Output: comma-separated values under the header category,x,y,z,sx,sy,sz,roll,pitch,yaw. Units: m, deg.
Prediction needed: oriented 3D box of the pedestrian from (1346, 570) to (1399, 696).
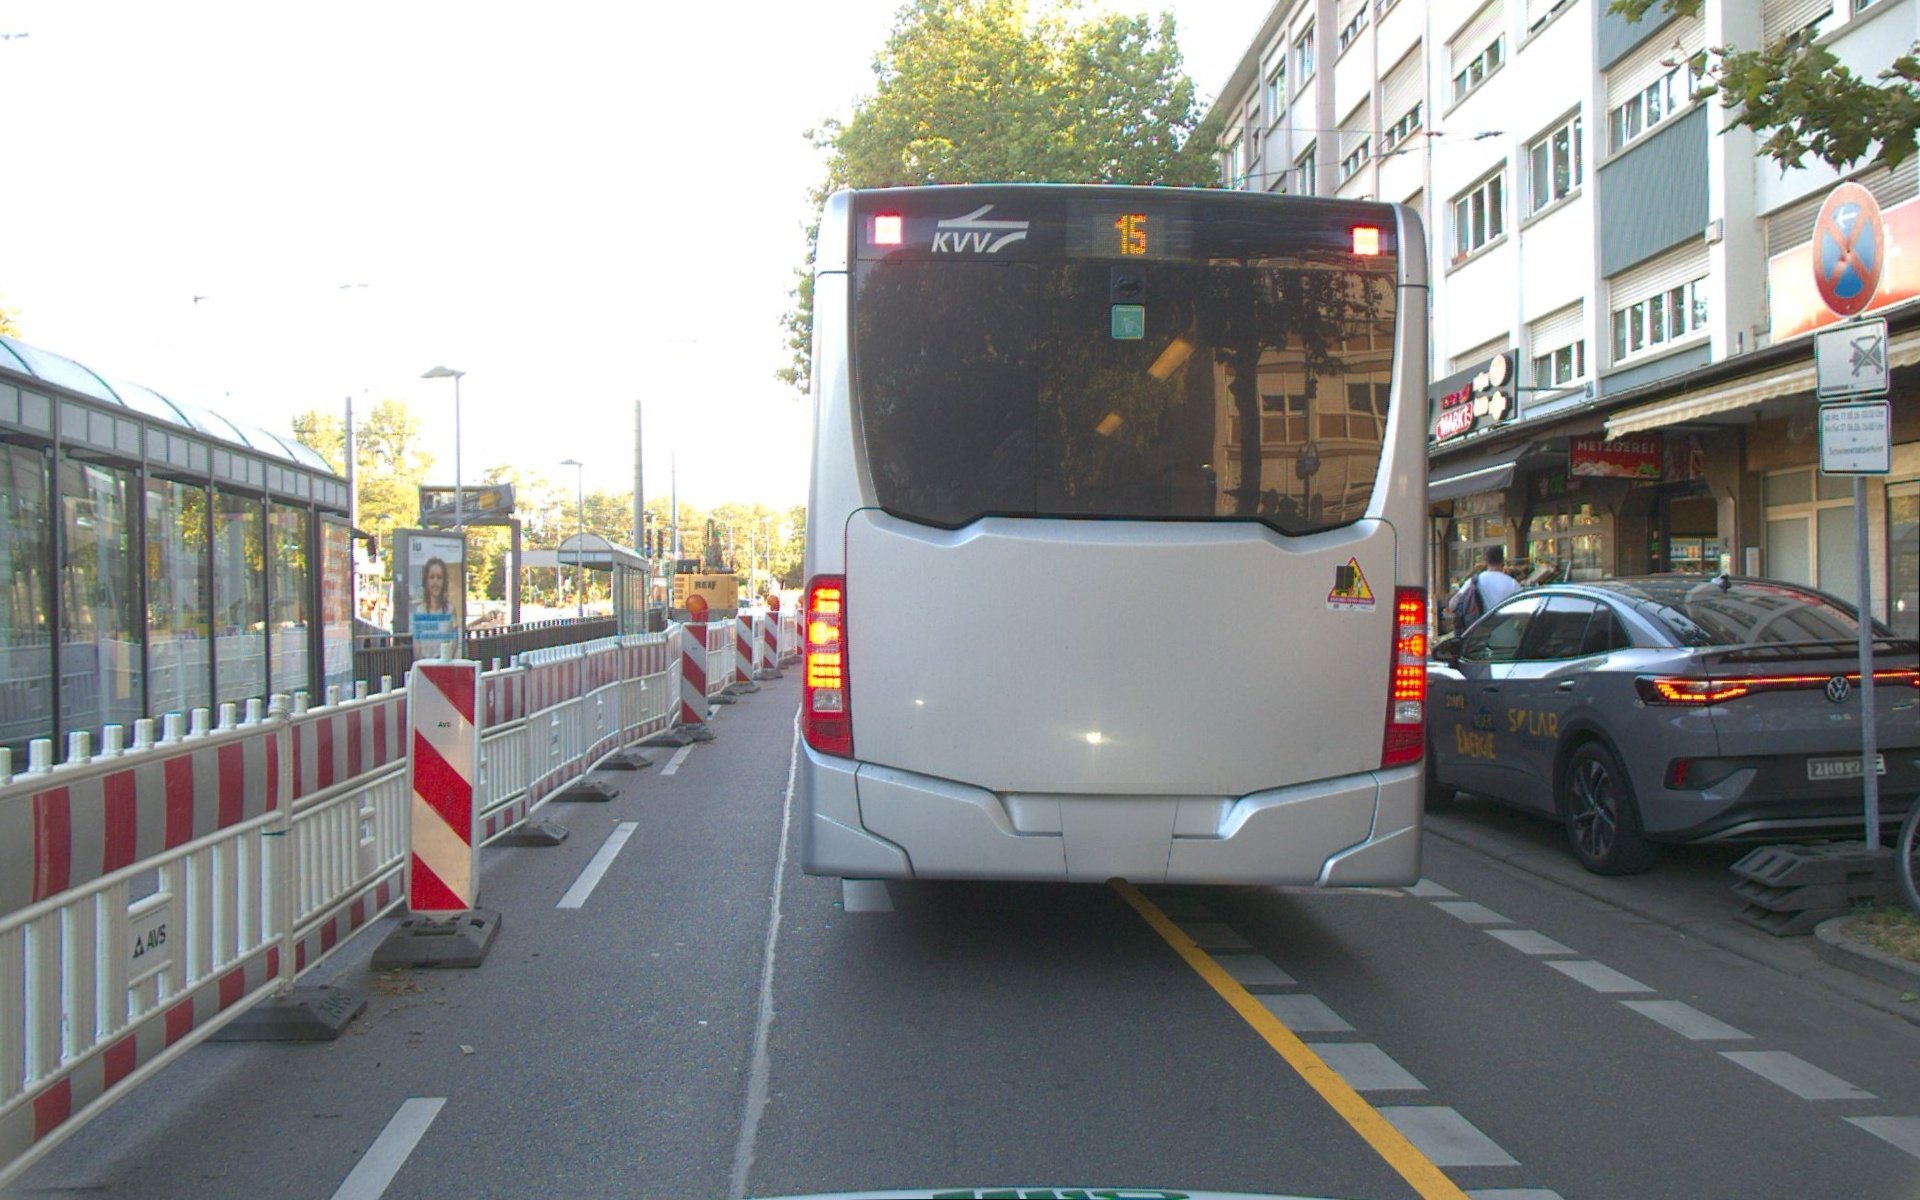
category,x,y,z,sx,sy,sz,roll,pitch,yaw
pedestrian,6.831,0.542,27.437,0.677,2.049,0.696,-1,0,-1

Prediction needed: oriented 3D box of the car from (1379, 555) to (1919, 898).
category,x,y,z,sx,sy,sz,roll,pitch,yaw
car,4.225,0.611,10.352,1.706,1.625,4.294,-3,0,-5

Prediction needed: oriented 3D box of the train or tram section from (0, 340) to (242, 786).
category,x,y,z,sx,sy,sz,roll,pitch,yaw
train or tram section,-9.170,-0.288,14.178,2.782,3.548,10.320,0,0,-8

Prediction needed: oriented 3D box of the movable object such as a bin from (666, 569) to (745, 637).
category,x,y,z,sx,sy,sz,roll,pitch,yaw
movable object such as a bin,-9.713,0.099,63.514,2.752,2.505,3.995,-1,0,-6

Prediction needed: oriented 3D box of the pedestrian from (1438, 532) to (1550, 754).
category,x,y,z,sx,sy,sz,roll,pitch,yaw
pedestrian,5.102,0.402,15.828,0.754,2.049,0.713,-2,0,-2

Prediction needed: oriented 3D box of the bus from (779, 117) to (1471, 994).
category,x,y,z,sx,sy,sz,roll,pitch,yaw
bus,0.572,-0.180,11.253,2.555,3.225,10.290,0,0,-1

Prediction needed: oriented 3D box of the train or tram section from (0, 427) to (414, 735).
category,x,y,z,sx,sy,sz,roll,pitch,yaw
train or tram section,-10.504,-0.213,24.368,2.763,3.548,10.321,0,0,-7

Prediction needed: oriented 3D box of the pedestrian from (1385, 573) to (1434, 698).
category,x,y,z,sx,sy,sz,roll,pitch,yaw
pedestrian,7.500,0.590,27.604,0.600,2.049,0.696,-1,0,-1
